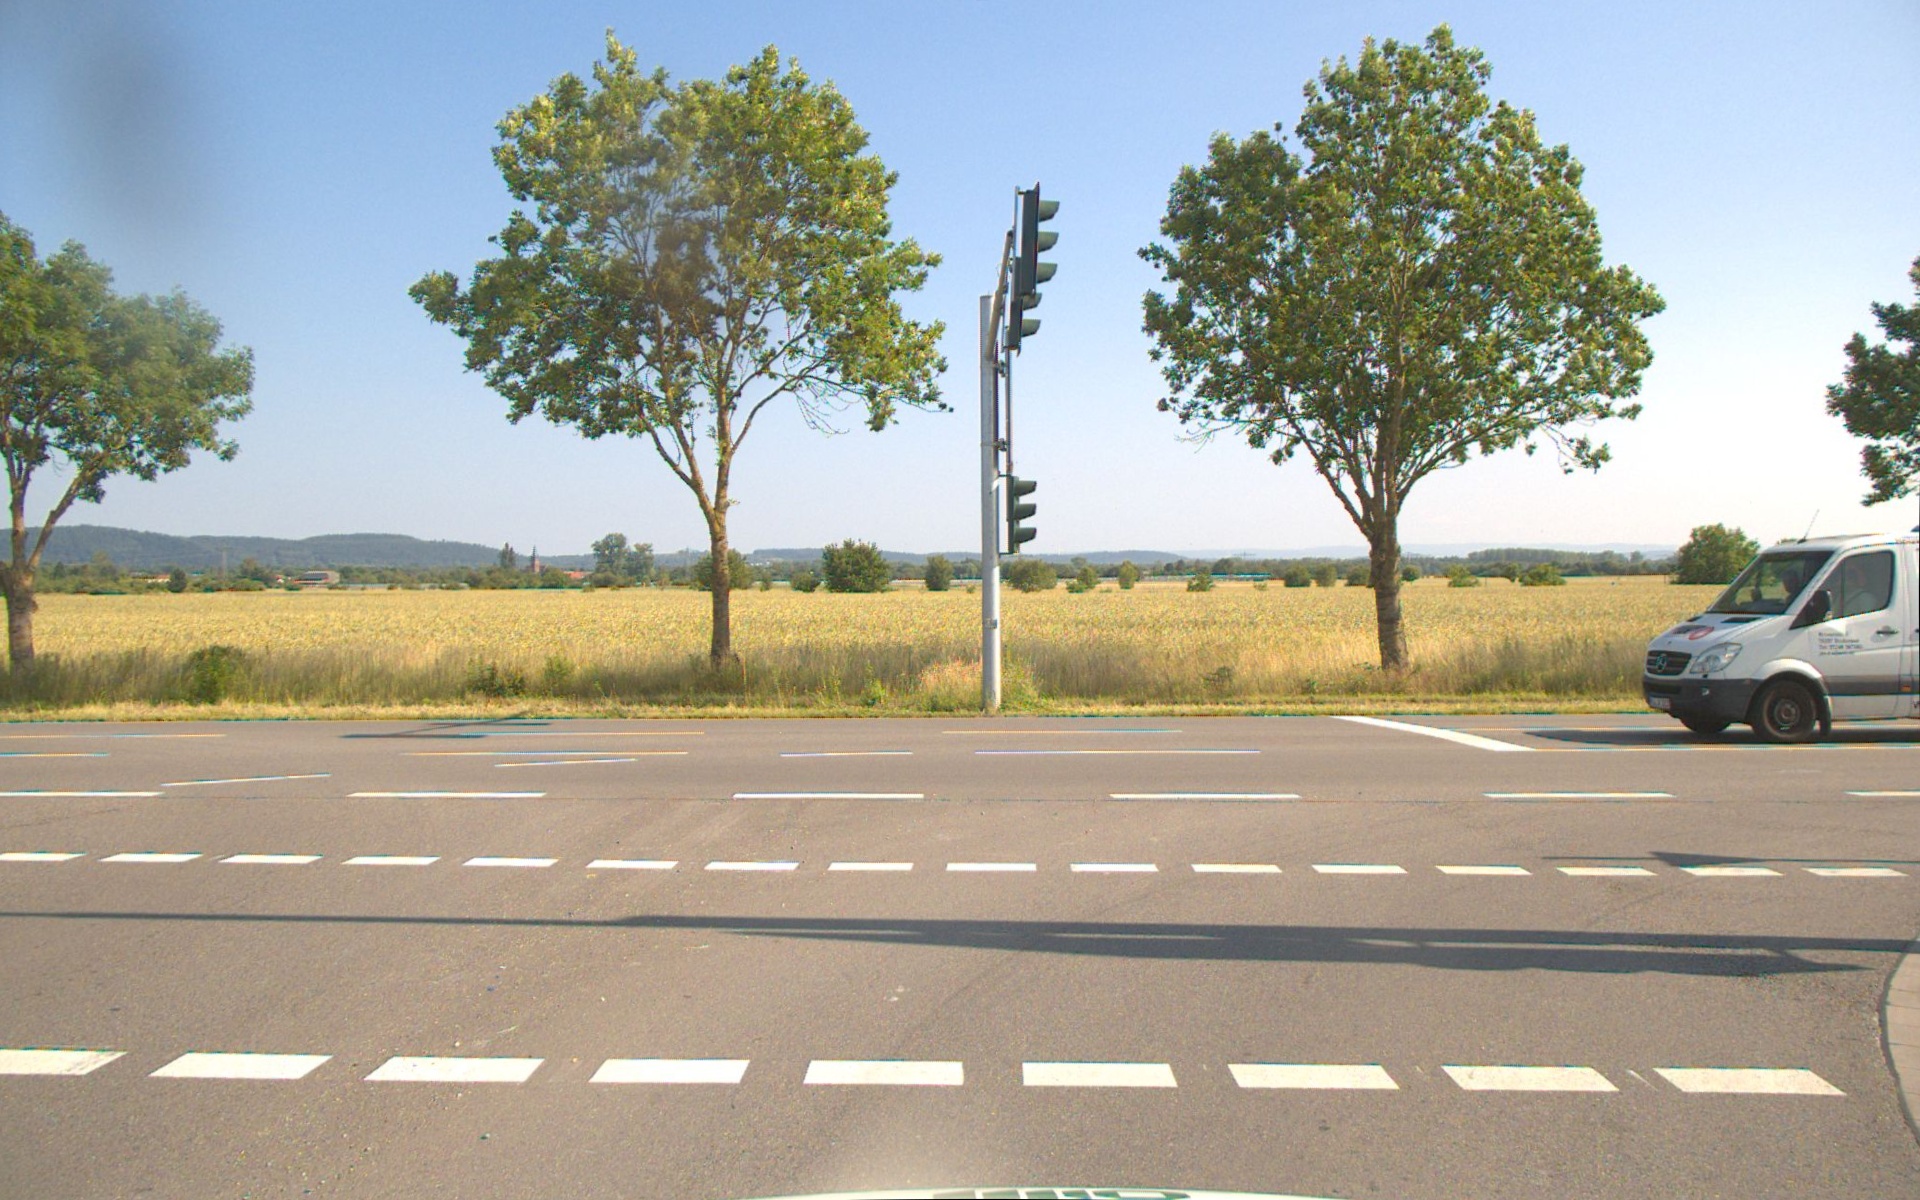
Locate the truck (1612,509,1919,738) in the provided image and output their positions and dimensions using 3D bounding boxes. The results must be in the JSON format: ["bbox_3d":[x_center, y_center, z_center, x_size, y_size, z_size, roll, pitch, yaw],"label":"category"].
[{"bbox_3d":[10.904,0.249,18.946,6.053,2.447,2.070,0,-1,-2],"label":"truck"}]
